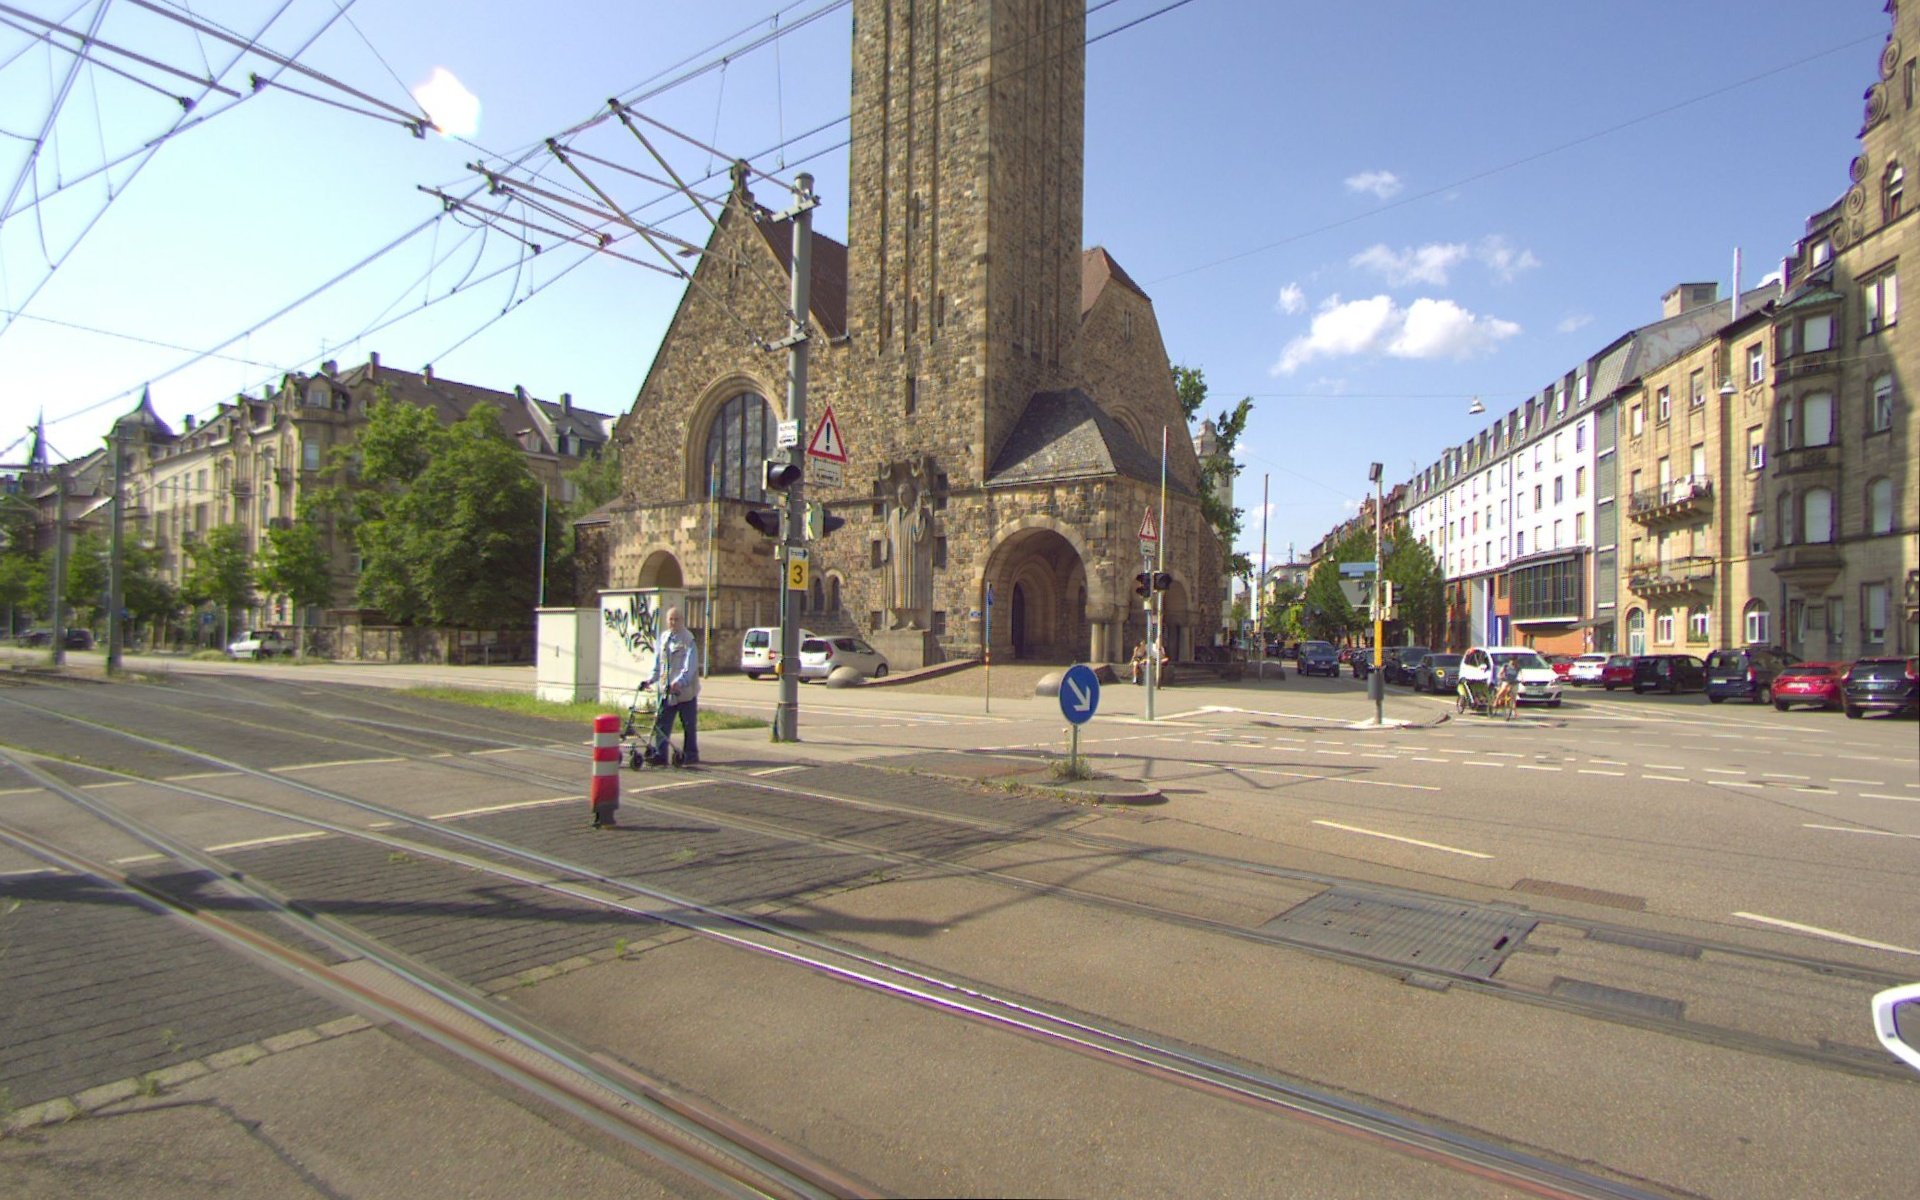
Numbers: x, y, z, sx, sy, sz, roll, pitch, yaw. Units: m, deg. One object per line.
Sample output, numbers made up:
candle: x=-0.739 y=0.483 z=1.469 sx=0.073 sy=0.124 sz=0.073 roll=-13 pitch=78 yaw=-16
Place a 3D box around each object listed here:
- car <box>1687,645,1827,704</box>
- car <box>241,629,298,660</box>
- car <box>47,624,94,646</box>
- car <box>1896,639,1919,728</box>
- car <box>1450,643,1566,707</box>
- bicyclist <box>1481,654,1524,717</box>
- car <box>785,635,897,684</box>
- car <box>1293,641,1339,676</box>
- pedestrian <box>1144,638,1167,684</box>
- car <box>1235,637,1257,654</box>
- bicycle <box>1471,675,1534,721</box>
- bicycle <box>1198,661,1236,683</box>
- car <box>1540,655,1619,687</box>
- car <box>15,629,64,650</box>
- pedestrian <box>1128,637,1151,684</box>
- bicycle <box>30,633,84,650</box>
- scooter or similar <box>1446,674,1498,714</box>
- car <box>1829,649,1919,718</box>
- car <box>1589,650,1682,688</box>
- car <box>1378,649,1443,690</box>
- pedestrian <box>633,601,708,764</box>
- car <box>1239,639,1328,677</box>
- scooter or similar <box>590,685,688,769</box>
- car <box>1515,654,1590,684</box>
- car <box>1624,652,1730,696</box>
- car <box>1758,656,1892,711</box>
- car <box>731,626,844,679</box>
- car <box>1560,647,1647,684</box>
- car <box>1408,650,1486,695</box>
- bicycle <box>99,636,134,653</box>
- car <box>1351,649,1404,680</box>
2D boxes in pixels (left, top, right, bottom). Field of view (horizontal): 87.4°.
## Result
car: x=27.245 y=2.499 z=34.350 sx=3.938 sy=1.849 sz=1.909 roll=0 pitch=-2 yaw=-19
car: x=-34.913 y=2.236 z=50.744 sx=1.664 sy=1.434 sz=3.793 roll=5 pitch=-4 yaw=-44
car: x=-63.656 y=2.494 z=71.860 sx=4.634 sy=1.522 sz=1.685 roll=-1 pitch=-2 yaw=38
car: x=25.379 y=1.950 z=24.779 sx=3.945 sy=2.110 sz=1.956 roll=-3 pitch=-1 yaw=-25
car: x=16.619 y=2.216 z=30.715 sx=1.778 sy=1.763 sz=4.667 roll=1 pitch=-2 yaw=11
bicyclist: x=13.363 y=2.093 z=24.768 sx=0.639 sy=1.523 sz=0.923 roll=0 pitch=-2 yaw=8
car: x=-4.046 y=2.039 z=34.709 sx=1.768 sy=1.567 sz=3.767 roll=0 pitch=-2 yaw=35
car: x=18.778 y=3.057 z=53.079 sx=1.778 sy=1.686 sz=4.075 roll=0 pitch=-1 yaw=12
pedestrian: x=6.276 y=1.952 z=32.204 sx=0.548 sy=1.426 sz=0.516 roll=0 pitch=4 yaw=-10
car: x=23.730 y=3.776 z=83.260 sx=1.611 sy=1.342 sz=3.745 roll=0 pitch=-2 yaw=18
bicycle: x=13.401 y=2.401 z=24.880 sx=0.639 sy=1.002 sz=2.136 roll=1 pitch=-2 yaw=8
bicycle: x=9.609 y=2.680 z=37.579 sx=1.344 sy=0.751 sz=0.338 roll=0 pitch=-2 yaw=35
car: x=30.109 y=3.426 z=48.816 sx=3.524 sy=1.415 sz=1.597 roll=0 pitch=-2 yaw=-25
car: x=-71.436 y=3.024 z=77.916 sx=4.413 sy=1.547 sz=1.799 roll=-1 pitch=-1 yaw=34
pedestrian: x=5.726 y=1.934 z=32.100 sx=0.548 sy=1.426 sz=0.516 roll=0 pitch=4 yaw=-10
bicycle: x=-68.438 y=3.149 z=76.142 sx=0.778 sy=1.262 sz=2.955 roll=0 pitch=-3 yaw=24
scooter or similar: x=13.528 y=2.472 z=26.564 sx=0.872 sy=0.990 sz=1.132 roll=1 pitch=-2 yaw=7
car: x=25.828 y=2.218 z=27.409 sx=3.946 sy=1.690 sz=1.701 roll=0 pitch=-2 yaw=-25
car: x=28.915 y=2.909 z=43.001 sx=3.724 sy=1.475 sz=1.597 roll=0 pitch=-2 yaw=-25
car: x=19.548 y=2.964 z=43.712 sx=1.668 sy=1.617 sz=4.075 roll=1 pitch=-2 yaw=11
pedestrian: x=-3.228 y=0.902 z=11.218 sx=0.548 sy=1.755 sz=0.527 roll=0 pitch=-2 yaw=32
car: x=15.313 y=2.732 z=47.749 sx=2.003 sy=1.674 sz=3.953 roll=2 pitch=-2 yaw=-21
scooter or similar: x=-3.452 y=1.349 z=10.846 sx=0.544 sy=0.814 sz=0.839 roll=0 pitch=-2 yaw=32
car: x=30.365 y=3.522 z=51.451 sx=3.524 sy=1.415 sz=1.597 roll=0 pitch=-2 yaw=-25
car: x=28.481 y=2.909 z=39.889 sx=3.946 sy=1.566 sz=1.701 roll=0 pitch=-2 yaw=-25
car: x=26.599 y=2.518 z=30.875 sx=3.953 sy=1.463 sz=1.902 roll=0 pitch=-3 yaw=-30
car: x=-6.322 y=1.926 z=37.152 sx=1.832 sy=1.848 sz=4.004 roll=0 pitch=-2 yaw=34
car: x=29.377 y=2.970 z=45.848 sx=3.724 sy=1.520 sz=1.597 roll=0 pitch=-2 yaw=-25
car: x=17.756 y=2.609 z=36.755 sx=1.641 sy=1.469 sz=3.739 roll=1 pitch=-2 yaw=11
bicycle: x=-56.195 y=2.978 z=66.906 sx=0.463 sy=1.083 sz=1.708 roll=-1 pitch=-3 yaw=31
car: x=20.548 y=3.143 z=49.570 sx=1.668 sy=1.409 sz=3.865 roll=1 pitch=-2 yaw=11
